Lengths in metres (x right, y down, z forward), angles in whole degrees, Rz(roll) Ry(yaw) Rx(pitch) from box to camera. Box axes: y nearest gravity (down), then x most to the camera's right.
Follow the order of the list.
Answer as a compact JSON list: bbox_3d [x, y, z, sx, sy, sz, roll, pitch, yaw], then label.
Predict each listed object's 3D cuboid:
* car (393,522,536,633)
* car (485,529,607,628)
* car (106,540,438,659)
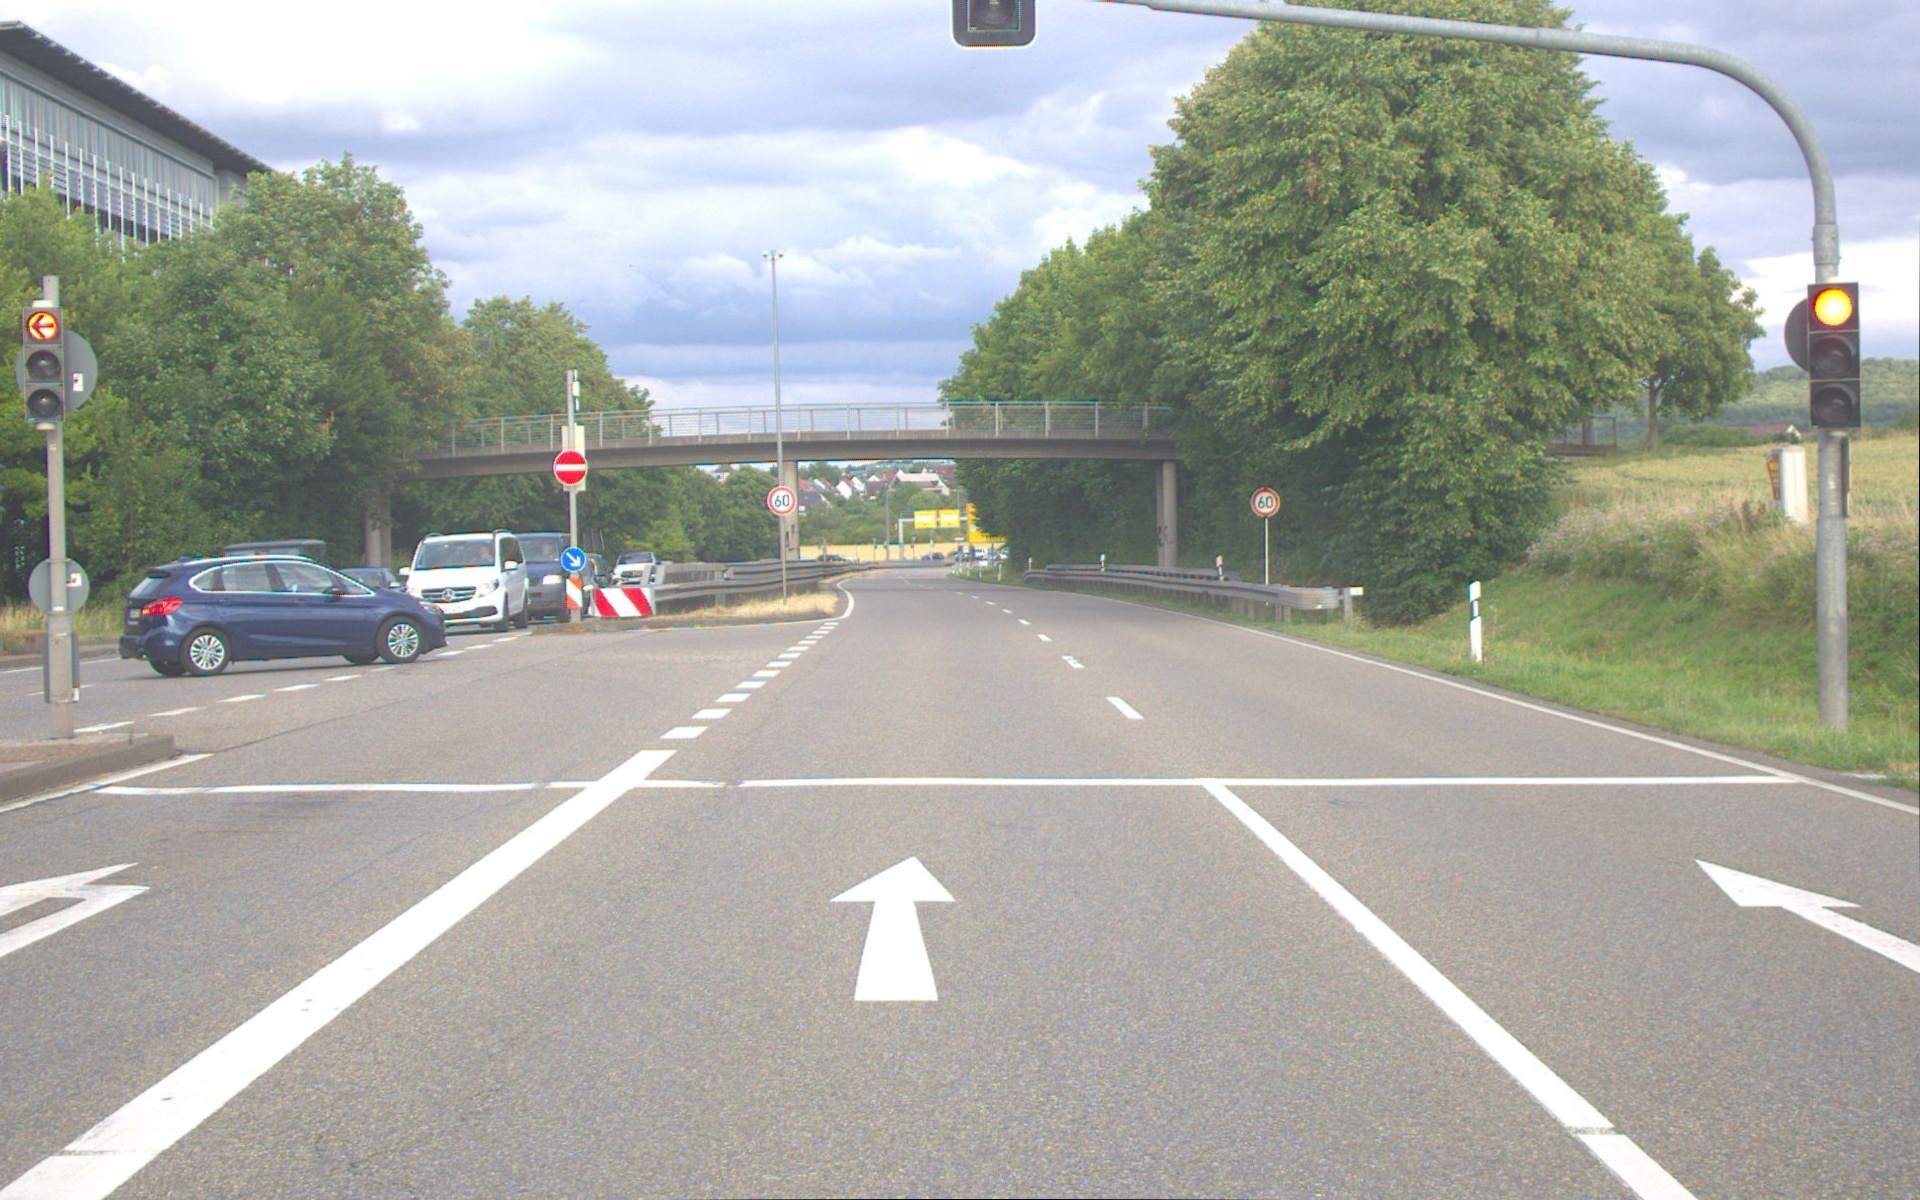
[{"bbox_3d":[-9.375,-0.444,65.442,2.083,2.007,5.217,1,1,-2],"label":"car"},{"bbox_3d":[-8.762,-0.476,73.177,2.083,2.007,5.217,1,1,-2],"label":"car"},{"bbox_3d":[-9.254,-0.007,46.249,3.986,1.547,1.886,0,1,-28],"label":"car"}]
